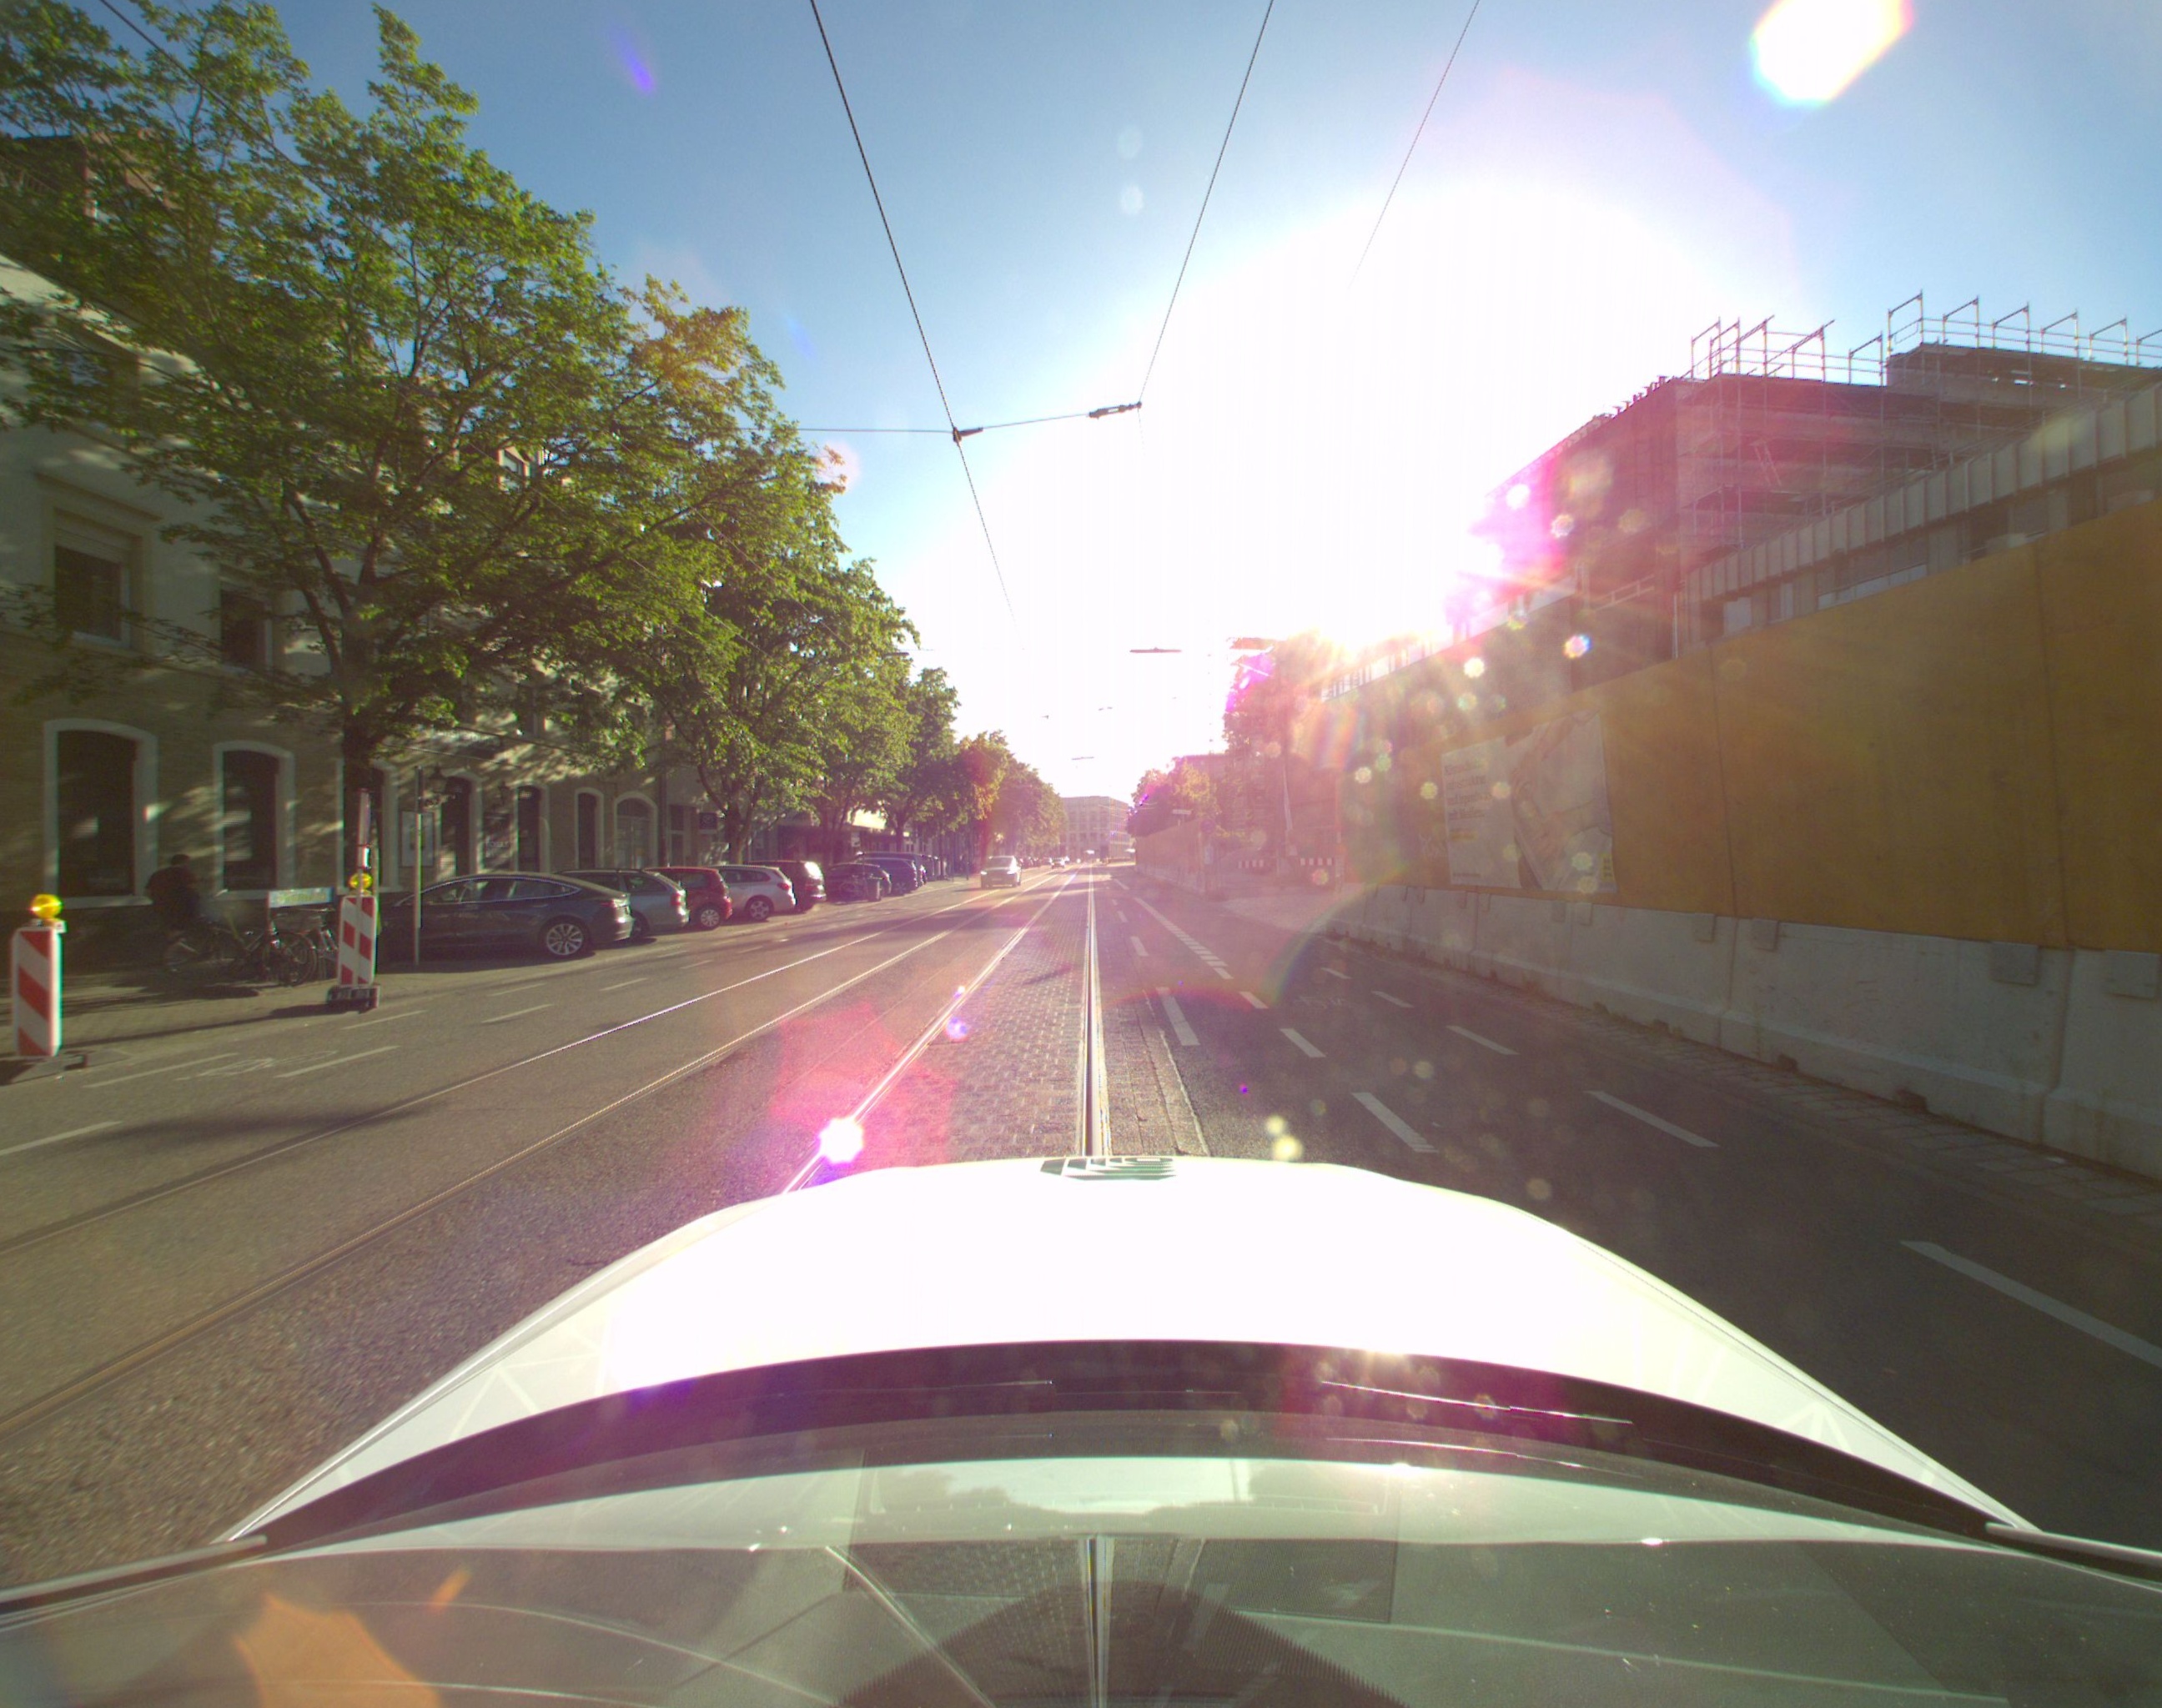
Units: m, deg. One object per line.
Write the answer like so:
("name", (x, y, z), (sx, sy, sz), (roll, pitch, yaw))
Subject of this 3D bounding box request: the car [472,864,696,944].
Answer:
("car", (-9.973, 0.960, 16.645), (3.693, 1.470, 1.737), (1, -1, -28))

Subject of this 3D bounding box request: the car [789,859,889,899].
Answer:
("car", (-10.009, 0.995, 33.777), (3.866, 1.476, 1.833), (-1, 0, -18))

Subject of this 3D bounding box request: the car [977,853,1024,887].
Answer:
("car", (-4.196, 0.803, 43.018), (1.921, 1.629, 4.250), (-2, 0, 1))

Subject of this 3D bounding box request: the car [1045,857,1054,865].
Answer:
("car", (-6.577, 1.498, 170.212), (1.567, 1.490, 4.000), (-1, -1, 1))

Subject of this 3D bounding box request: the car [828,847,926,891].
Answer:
("car", (-9.864, 0.741, 39.296), (4.370, 1.986, 1.935), (1, -1, -21))

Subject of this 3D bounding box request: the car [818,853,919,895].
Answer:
("car", (-9.614, 0.890, 36.770), (4.250, 1.685, 1.798), (-2, 0, -21))

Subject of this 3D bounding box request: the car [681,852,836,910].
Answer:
("car", (-10.145, 0.822, 25.859), (4.093, 1.678, 1.839), (1, -1, -2))

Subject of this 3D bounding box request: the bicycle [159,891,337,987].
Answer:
("bicycle", (-10.828, 1.068, 10.651), (1.603, 1.095, 0.329), (-1, -1, -44))

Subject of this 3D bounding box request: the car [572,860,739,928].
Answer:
("car", (-10.102, 0.923, 19.495), (3.381, 1.493, 1.599), (1, 0, -28))

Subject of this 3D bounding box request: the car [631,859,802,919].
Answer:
("car", (-9.944, 0.919, 22.395), (4.125, 1.512, 1.825), (1, 0, -26))

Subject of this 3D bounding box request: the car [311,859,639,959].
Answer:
("car", (-10.091, 0.863, 14.046), (4.211, 1.491, 1.927), (1, -1, -27))

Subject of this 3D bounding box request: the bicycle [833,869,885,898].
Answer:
("bicycle", (-8.860, 1.168, 32.557), (1.970, 1.144, 0.490), (1, -1, -18))

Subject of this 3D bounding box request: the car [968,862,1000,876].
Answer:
("car", (-9.723, 1.533, 81.851), (2.950, 1.332, 1.205), (-2, -1, -27))

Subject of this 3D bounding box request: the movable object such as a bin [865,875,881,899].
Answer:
("movable object such as a bin", (-8.133, 1.302, 31.838), (0.576, 0.913, 0.572), (1, 0, -15))

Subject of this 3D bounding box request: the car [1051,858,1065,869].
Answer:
("car", (-3.164, 1.330, 112.046), (1.704, 1.436, 4.170), (-1, 0, 0))

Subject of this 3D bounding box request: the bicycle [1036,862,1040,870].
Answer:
("bicycle", (-5.428, 1.523, 103.308), (0.448, 0.881, 1.898), (-1, 0, -4))

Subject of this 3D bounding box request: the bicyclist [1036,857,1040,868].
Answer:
("bicyclist", (-5.414, 1.047, 103.310), (0.456, 1.378, 0.640), (-1, -1, -4))

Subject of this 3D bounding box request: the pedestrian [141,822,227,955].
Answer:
("pedestrian", (-14.002, 0.533, 12.723), (0.728, 2.014, 0.557), (-1, -1, 2))

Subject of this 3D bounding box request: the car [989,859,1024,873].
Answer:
("car", (-9.449, 1.518, 103.591), (4.182, 1.721, 1.570), (0, -1, -27))

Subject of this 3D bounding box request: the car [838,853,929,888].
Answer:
("car", (-10.186, 0.861, 42.033), (4.301, 1.666, 1.897), (2, -1, -24))
